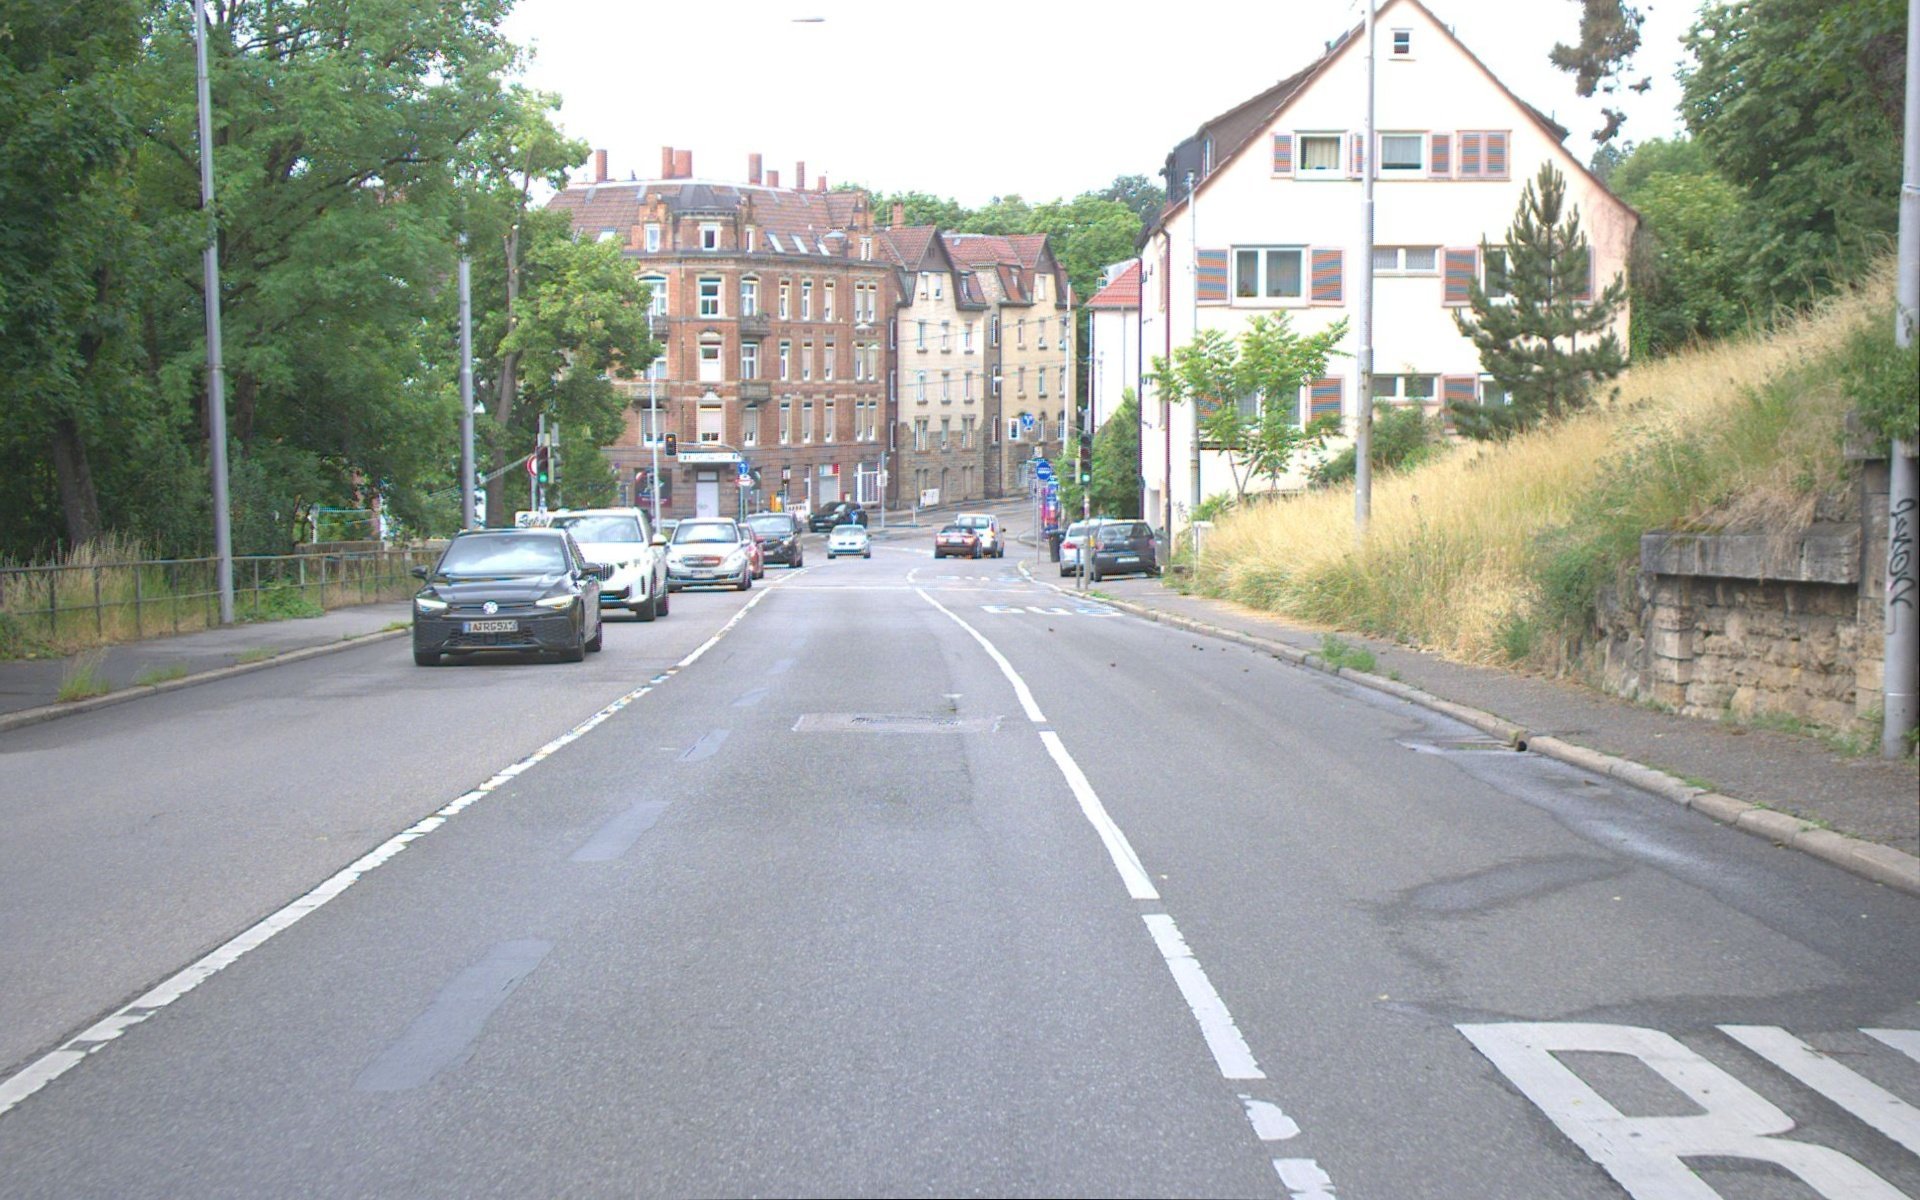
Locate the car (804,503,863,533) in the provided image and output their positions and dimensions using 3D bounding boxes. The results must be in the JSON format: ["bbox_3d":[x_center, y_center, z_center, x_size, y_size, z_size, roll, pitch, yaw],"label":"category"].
[{"bbox_3d":[-7.005,-4.543,190.863,1.983,1.569,4.372,-2,1,16],"label":"car"}]

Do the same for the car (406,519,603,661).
[{"bbox_3d":[-4.909,-0.151,37.510,1.712,1.422,4.139,-1,1,-2],"label":"car"}]

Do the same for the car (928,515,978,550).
[{"bbox_3d":[-0.291,-2.848,144.498,1.816,1.425,4.000,1,2,4],"label":"car"}]

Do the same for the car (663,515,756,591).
[{"bbox_3d":[-5.446,-1.043,75.169,1.783,1.569,4.281,-1,1,-1],"label":"car"}]

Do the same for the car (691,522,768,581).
[{"bbox_3d":[-5.952,-1.284,89.282,1.783,1.454,4.429,-1,1,-1],"label":"car"}]

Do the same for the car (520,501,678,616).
[{"bbox_3d":[-5.551,-0.683,53.353,1.995,1.677,4.664,-1,2,-1],"label":"car"}]

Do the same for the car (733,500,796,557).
[{"bbox_3d":[-6.201,-2.283,109.278,1.784,1.740,4.429,-1,1,-1],"label":"car"}]

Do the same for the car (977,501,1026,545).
[{"bbox_3d":[1.845,-3.378,151.420,1.909,1.877,4.000,1,1,4],"label":"car"}]

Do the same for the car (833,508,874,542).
[{"bbox_3d":[-4.562,-3.226,147.805,1.720,1.440,4.159,-1,1,-1],"label":"car"}]

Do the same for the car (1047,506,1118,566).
[{"bbox_3d":[3.332,-1.756,92.958,1.794,1.446,4.718,-3,2,3],"label":"car"}]

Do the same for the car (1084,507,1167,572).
[{"bbox_3d":[4.028,-1.464,84.076,1.681,1.446,4.000,-4,1,-1],"label":"car"}]
